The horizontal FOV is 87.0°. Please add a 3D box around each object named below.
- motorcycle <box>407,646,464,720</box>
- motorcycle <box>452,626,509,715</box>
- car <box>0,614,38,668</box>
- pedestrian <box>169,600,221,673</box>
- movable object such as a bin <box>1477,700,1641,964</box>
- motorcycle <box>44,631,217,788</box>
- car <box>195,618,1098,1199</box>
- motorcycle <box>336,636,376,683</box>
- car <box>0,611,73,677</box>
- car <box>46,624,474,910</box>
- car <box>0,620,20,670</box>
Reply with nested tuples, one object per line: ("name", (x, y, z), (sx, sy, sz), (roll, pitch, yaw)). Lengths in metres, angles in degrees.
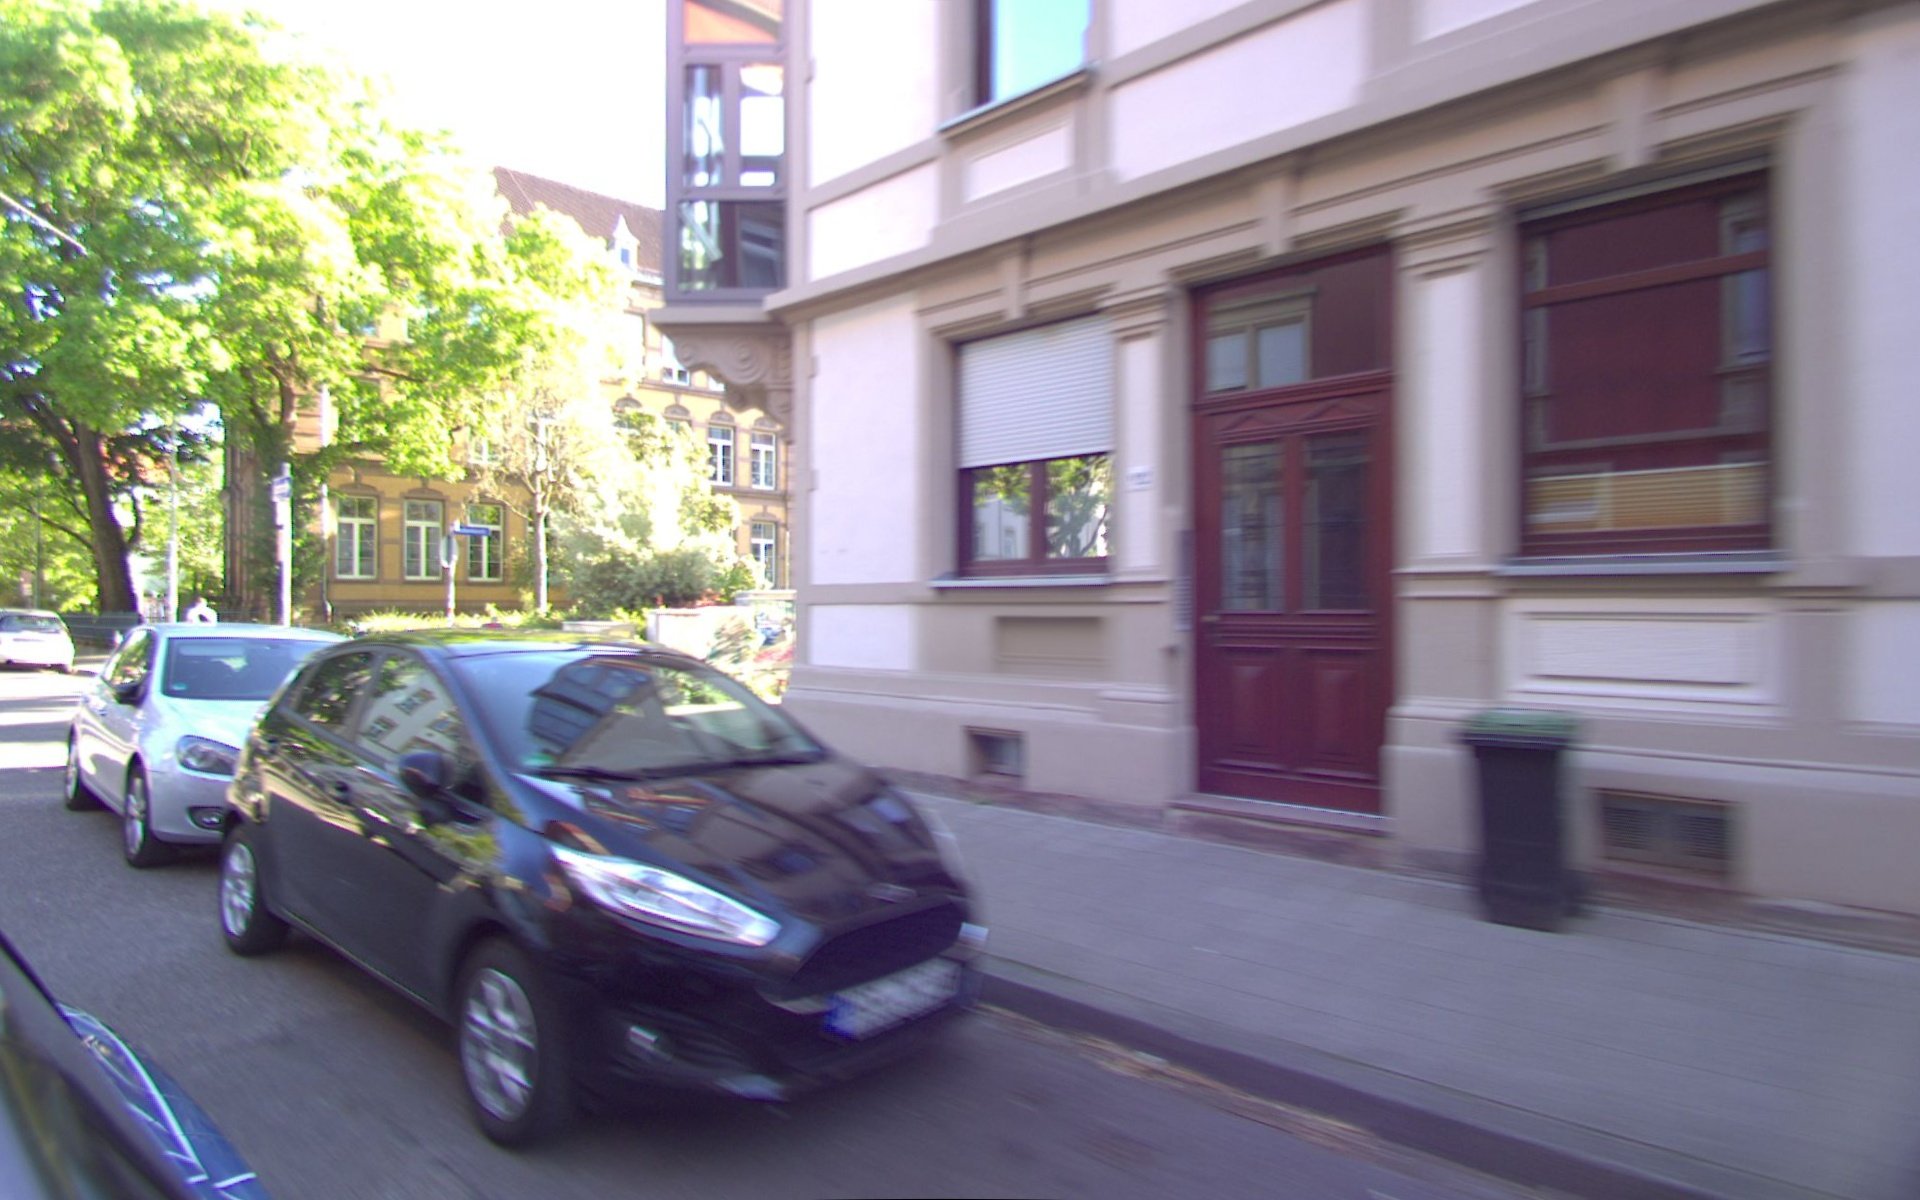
("motorcycle", (-8.781, 1.346, 16.911), (0.630, 1.098, 1.875), (2, -1, -34))
("motorcycle", (-7.245, 1.018, 15.247), (0.603, 1.205, 2.050), (1, -1, -29))
("car", (-28.650, 1.114, 29.576), (3.991, 1.475, 1.567), (1, -5, 35))
("pedestrian", (-18.814, 0.896, 24.900), (1.005, 1.759, 0.794), (-1, -2, 41))
("movable object such as a bin", (2.604, 0.954, 4.391), (0.510, 0.963, 0.615), (-1, -1, 41))
("motorcycle", (-7.900, 0.986, 9.610), (1.995, 1.344, 0.670), (-1, -5, 35))
("car", (-1.501, 0.830, 4.034), (3.741, 1.494, 1.762), (-1, -2, 42))
("motorcycle", (-15.029, 1.466, 25.170), (0.536, 1.110, 1.899), (2, -2, -40))
("car", (-24.331, 1.098, 26.006), (3.950, 1.570, 1.688), (0, -5, 41))
("car", (-5.219, 0.927, 7.334), (3.932, 1.494, 1.761), (-1, -2, 43))
("car", (-31.938, 1.398, 32.649), (3.997, 1.545, 1.770), (-1, -5, 40))
